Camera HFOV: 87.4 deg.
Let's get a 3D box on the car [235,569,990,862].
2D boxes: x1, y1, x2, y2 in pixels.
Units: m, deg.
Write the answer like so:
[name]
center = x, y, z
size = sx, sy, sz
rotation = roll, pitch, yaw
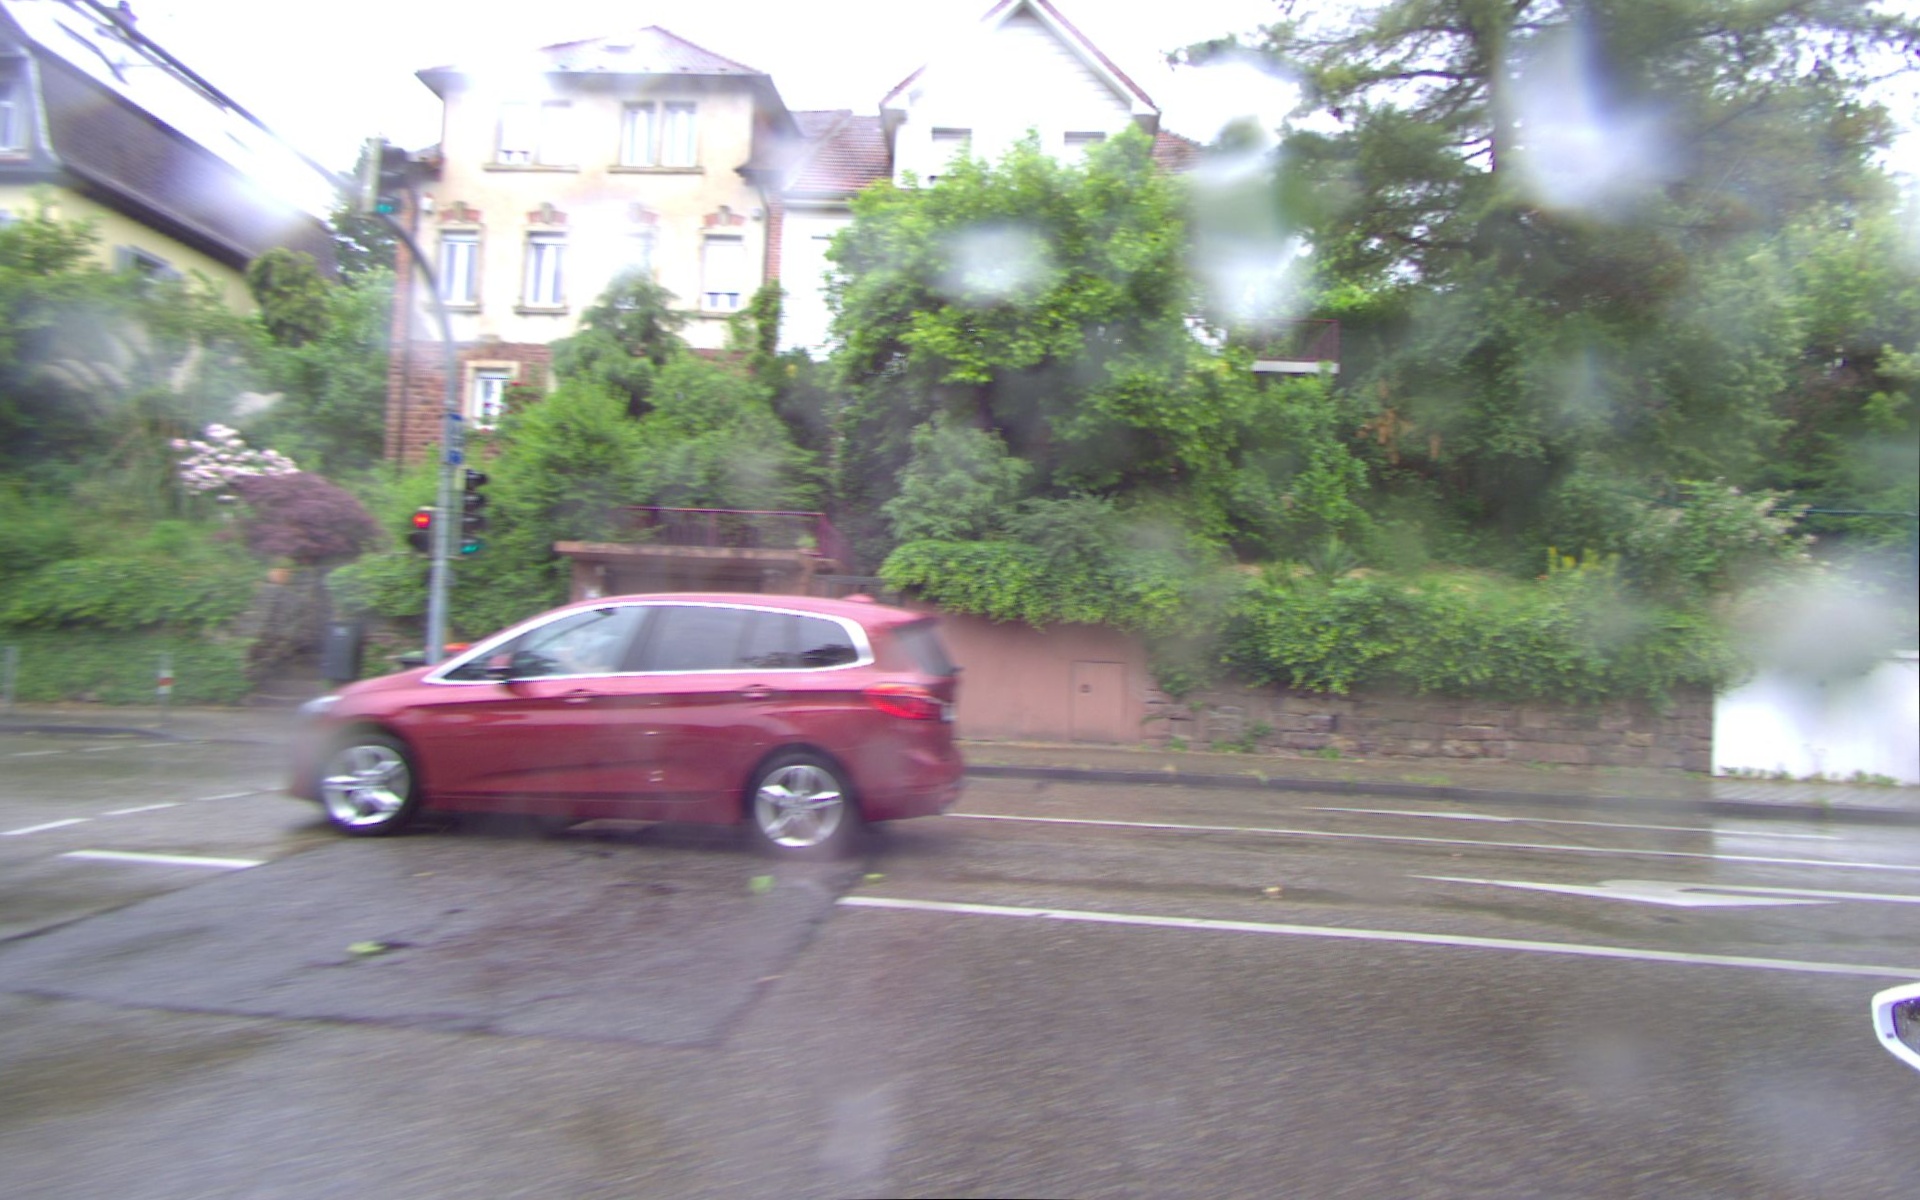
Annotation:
[car]
center = -2.100, 0.706, 6.869
size = 4.490, 1.621, 1.776
rotation = 1, -3, 5
